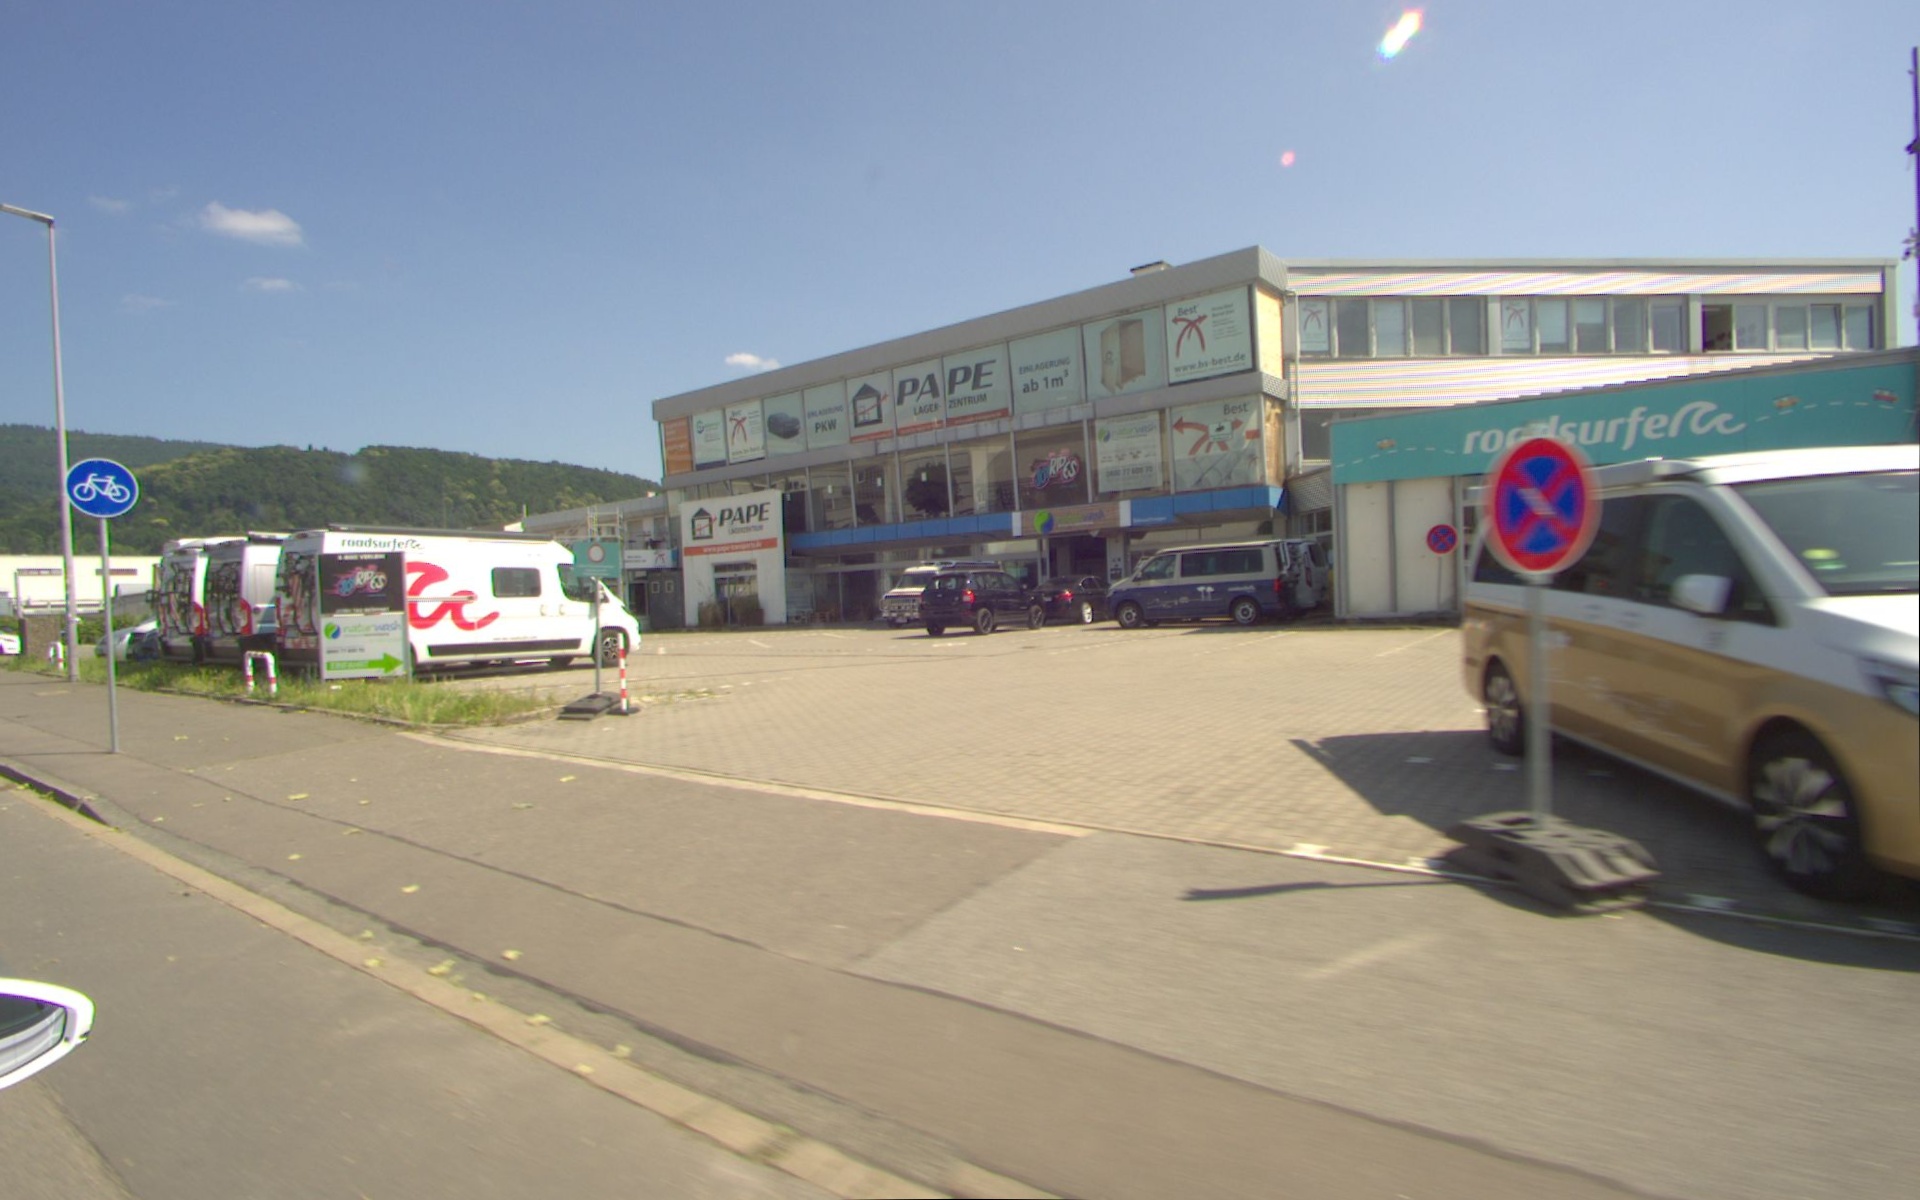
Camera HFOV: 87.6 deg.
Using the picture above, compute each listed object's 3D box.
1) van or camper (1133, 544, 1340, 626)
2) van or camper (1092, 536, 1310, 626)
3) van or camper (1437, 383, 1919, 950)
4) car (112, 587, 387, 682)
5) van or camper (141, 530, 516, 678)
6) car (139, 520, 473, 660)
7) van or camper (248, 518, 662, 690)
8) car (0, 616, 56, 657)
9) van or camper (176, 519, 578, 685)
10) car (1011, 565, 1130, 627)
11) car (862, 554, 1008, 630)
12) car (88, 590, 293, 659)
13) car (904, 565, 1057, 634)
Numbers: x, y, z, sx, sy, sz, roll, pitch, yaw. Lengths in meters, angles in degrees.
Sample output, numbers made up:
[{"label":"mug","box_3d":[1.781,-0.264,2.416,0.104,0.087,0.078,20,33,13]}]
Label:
[{"label":"van or camper","box_3d":[7.501,-0.371,27.287,5.043,2.041,2.112,-1,1,33]},{"label":"van or camper","box_3d":[6.021,-0.426,25.215,4.949,2.041,1.989,-1,1,31]},{"label":"van or camper","box_3d":[4.596,0.138,5.575,1.949,1.988,5.132,-3,1,7]},{"label":"car","box_3d":[-17.600,0.752,25.089,1.975,1.978,5.212,-1,2,37]},{"label":"van or camper","box_3d":[-13.421,0.020,21.783,2.678,2.736,6.323,-1,1,38]},{"label":"car","box_3d":[-15.321,-0.267,23.901,2.291,2.908,6.202,-1,1,37]},{"label":"van or camper","box_3d":[-8.814,0.007,18.167,2.586,2.558,6.170,-1,1,38]},{"label":"car","box_3d":[-42.820,1.642,43.454,4.952,1.640,2.025,-1,-5,-10]},{"label":"van or camper","box_3d":[-11.265,-0.019,19.934,2.678,2.753,6.323,-1,1,38]},{"label":"car","box_3d":[3.466,-0.150,30.786,1.973,1.756,4.093,-1,1,34]},{"label":"car","box_3d":[-0.782,-0.301,35.115,2.296,2.451,5.276,-1,1,37]},{"label":"car","box_3d":[-20.023,0.583,26.203,1.775,1.614,3.906,-1,1,37]},{"label":"car","box_3d":[0.646,-0.049,26.939,1.973,1.701,4.524,-1,1,34]}]
